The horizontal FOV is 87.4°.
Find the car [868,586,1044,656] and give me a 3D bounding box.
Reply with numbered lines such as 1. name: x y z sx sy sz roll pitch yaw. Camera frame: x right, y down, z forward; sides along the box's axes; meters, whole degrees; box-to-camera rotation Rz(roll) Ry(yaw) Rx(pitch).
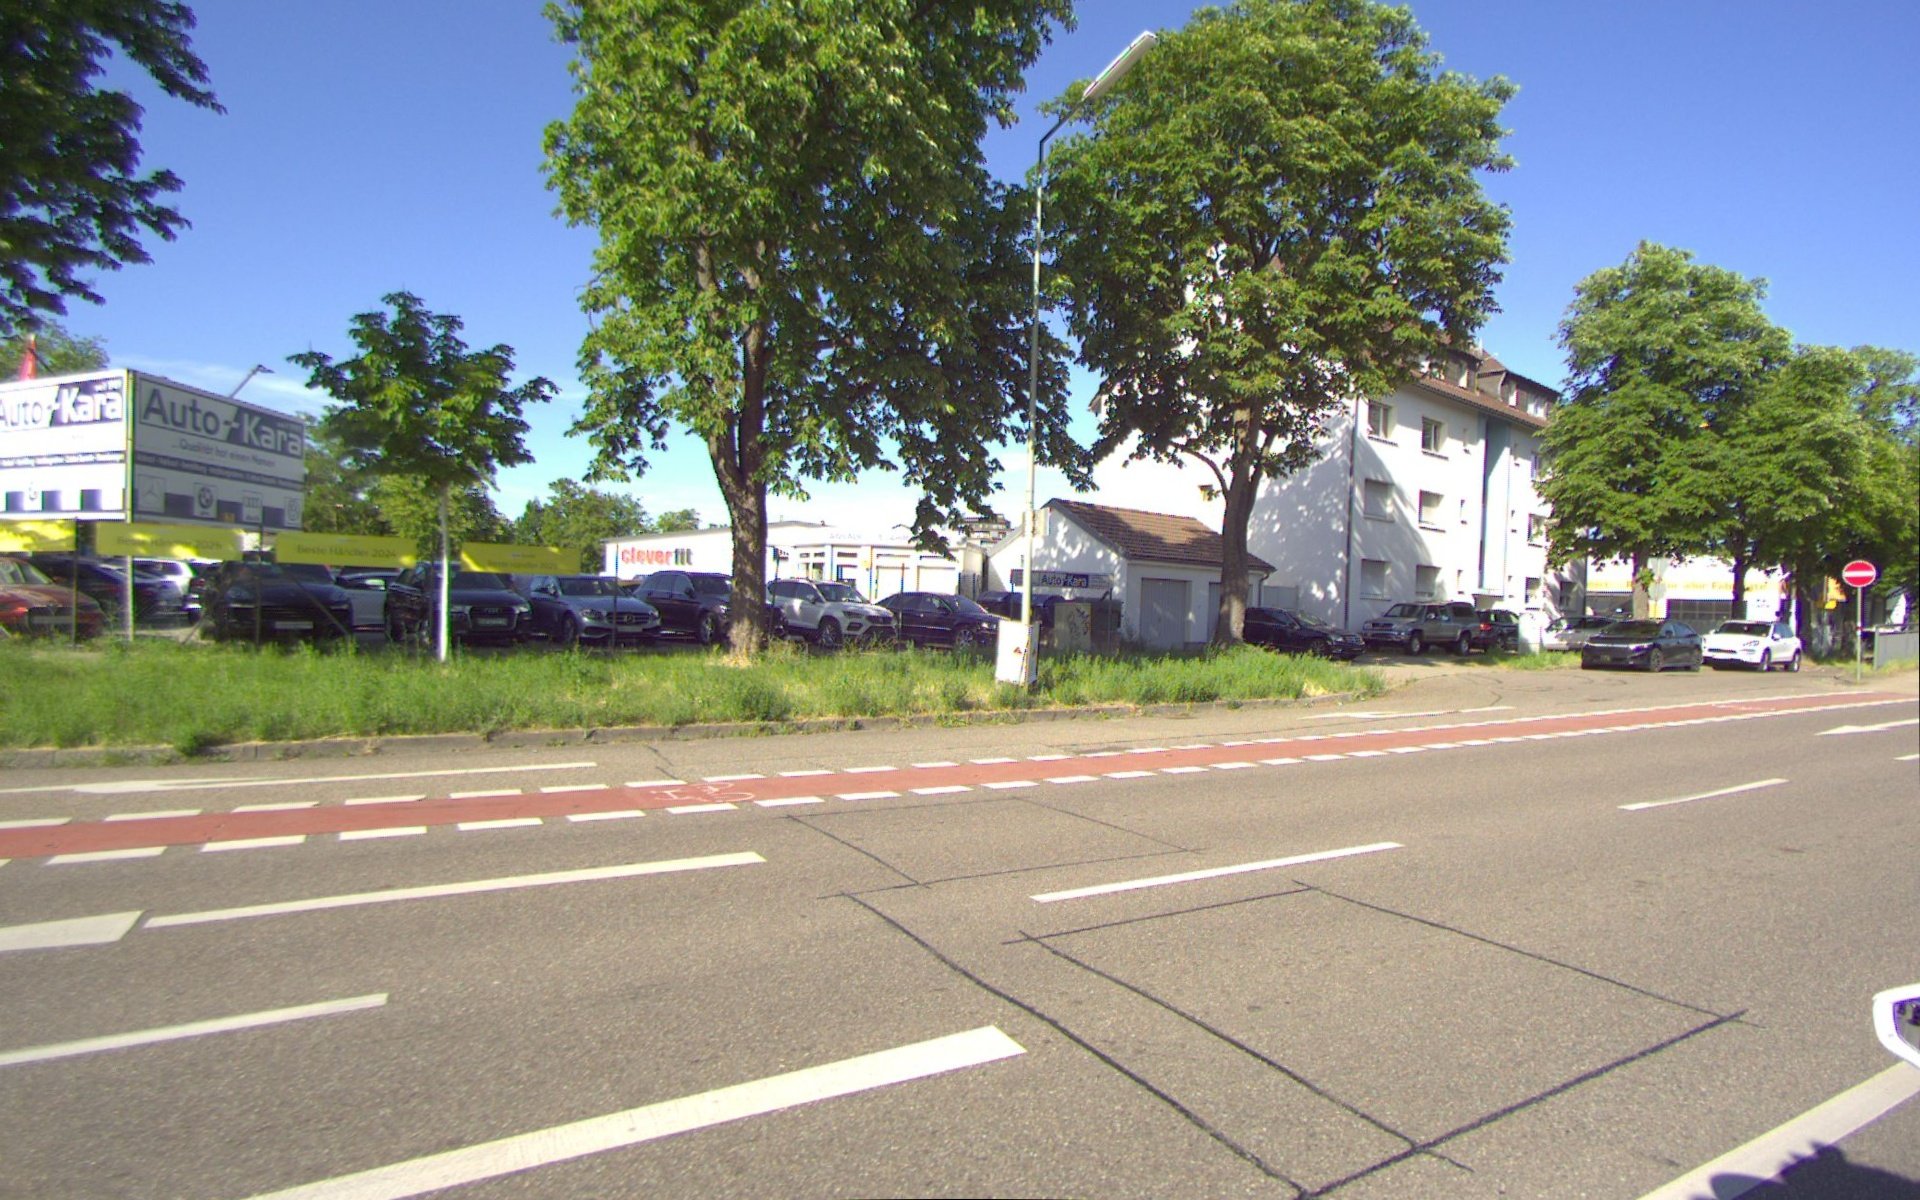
1. car: -0.159 0.478 25.880 4.339 1.596 1.807 2 1 38

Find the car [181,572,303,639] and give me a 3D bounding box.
1. car: -17.810 0.120 25.099 1.809 1.526 3.973 1 0 -26

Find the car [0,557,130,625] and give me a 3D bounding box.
1. car: -21.841 -0.219 23.068 3.948 1.481 1.733 2 0 -26

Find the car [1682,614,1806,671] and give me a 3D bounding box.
1. car: 27.121 1.423 34.696 5.187 1.752 2.023 1 1 -37

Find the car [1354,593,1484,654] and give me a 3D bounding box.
1. car: 15.712 0.800 34.271 5.053 1.956 1.735 1 0 -36

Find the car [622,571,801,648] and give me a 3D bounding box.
1. car: -5.702 0.165 22.879 3.939 1.581 1.991 2 1 39

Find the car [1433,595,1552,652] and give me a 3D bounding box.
1. car: 19.778 0.880 37.253 4.743 1.956 2.054 2 1 -37

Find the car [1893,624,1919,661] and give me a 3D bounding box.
1. car: 54.762 2.395 56.828 4.212 2.018 1.911 1 1 -34

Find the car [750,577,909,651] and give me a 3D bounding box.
1. car: -3.271 0.293 24.663 1.909 1.632 3.948 0 1 -43

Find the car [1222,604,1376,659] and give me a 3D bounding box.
1. car: 10.115 0.922 30.191 1.892 1.448 3.954 3 -1 -40

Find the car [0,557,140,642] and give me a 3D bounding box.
1. car: -16.855 -0.070 17.329 4.966 1.327 2.358 2 1 26

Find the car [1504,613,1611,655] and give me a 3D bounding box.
1. car: 24.447 1.375 41.238 3.602 1.530 1.782 2 1 27

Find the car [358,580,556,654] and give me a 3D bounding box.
1. car: -9.763 0.276 19.420 3.872 1.257 2.035 2 1 39

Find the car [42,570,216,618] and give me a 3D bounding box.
1. car: -26.669 -0.186 32.417 3.943 1.427 1.828 1 1 -23

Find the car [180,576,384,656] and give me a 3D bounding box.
1. car: -12.264 0.236 18.094 3.872 1.257 2.035 2 1 39

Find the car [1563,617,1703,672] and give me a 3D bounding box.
1. car: 20.397 1.320 30.364 4.916 1.483 2.023 2 0 -37

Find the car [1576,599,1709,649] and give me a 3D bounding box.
1. car: 38.411 1.306 56.731 5.772 2.596 2.138 2 0 16

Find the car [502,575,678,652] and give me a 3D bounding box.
1. car: -7.877 0.234 21.251 3.823 1.431 1.936 2 1 41
